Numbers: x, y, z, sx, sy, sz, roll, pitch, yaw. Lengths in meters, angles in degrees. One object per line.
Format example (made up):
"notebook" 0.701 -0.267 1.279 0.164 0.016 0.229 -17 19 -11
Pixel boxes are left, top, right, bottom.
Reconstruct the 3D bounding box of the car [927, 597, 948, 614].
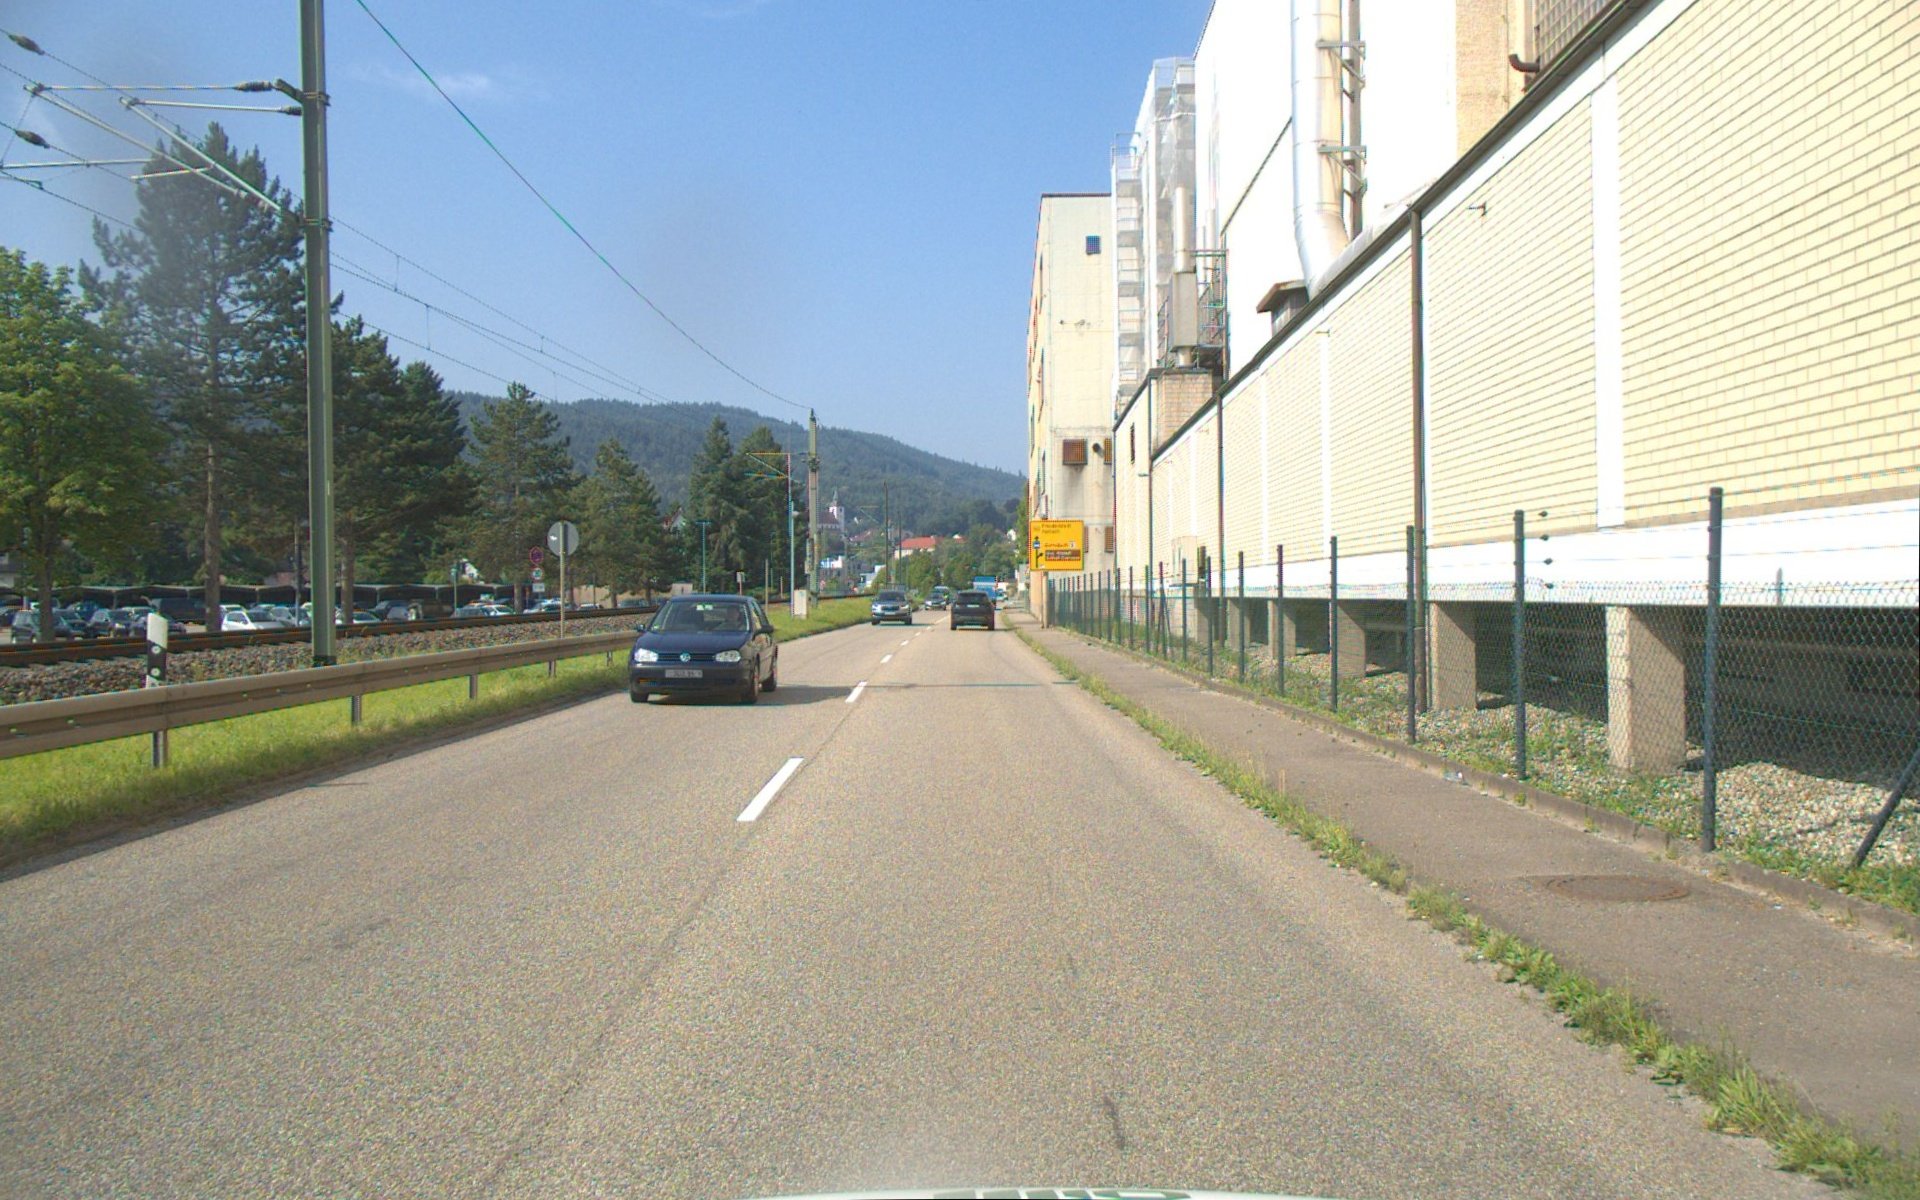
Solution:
"car" -1.970 0.467 143.066 1.731 1.430 4.296 -1 0 0

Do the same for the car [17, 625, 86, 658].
"car" -42.433 1.921 77.238 3.784 1.431 1.678 -1 0 42

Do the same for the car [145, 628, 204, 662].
"car" -40.305 2.296 84.797 1.674 1.671 3.792 -1 0 -43

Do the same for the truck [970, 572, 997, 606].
"truck" 2.136 -0.995 151.263 2.265 3.022 5.964 -1 0 -1

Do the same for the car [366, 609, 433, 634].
"car" -33.449 1.293 98.784 1.494 1.381 3.496 -1 0 44

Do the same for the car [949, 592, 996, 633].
"car" 0.546 0.518 69.691 1.880 1.668 4.001 0 0 1

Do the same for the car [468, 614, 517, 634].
"car" -32.962 1.697 116.568 3.463 1.348 1.453 -1 0 34

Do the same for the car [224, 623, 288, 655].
"car" -33.807 1.853 79.369 1.674 1.469 3.792 -1 0 -43

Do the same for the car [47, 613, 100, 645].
"car" -47.976 1.571 89.485 1.674 1.671 3.792 -1 0 -43

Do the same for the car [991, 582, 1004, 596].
"car" 5.050 -1.458 222.598 1.632 1.854 3.752 0 0 2

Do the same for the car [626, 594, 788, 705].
"car" -3.494 0.630 23.517 1.728 1.427 4.119 0 0 -1

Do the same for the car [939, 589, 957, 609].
"car" -1.274 -0.132 182.231 1.722 2.114 4.809 1 0 2

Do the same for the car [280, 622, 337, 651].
"car" -35.788 1.988 90.801 1.674 1.533 3.792 -1 0 -43

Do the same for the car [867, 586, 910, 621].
"car" -3.384 0.165 79.353 1.867 1.628 4.570 0 0 0
